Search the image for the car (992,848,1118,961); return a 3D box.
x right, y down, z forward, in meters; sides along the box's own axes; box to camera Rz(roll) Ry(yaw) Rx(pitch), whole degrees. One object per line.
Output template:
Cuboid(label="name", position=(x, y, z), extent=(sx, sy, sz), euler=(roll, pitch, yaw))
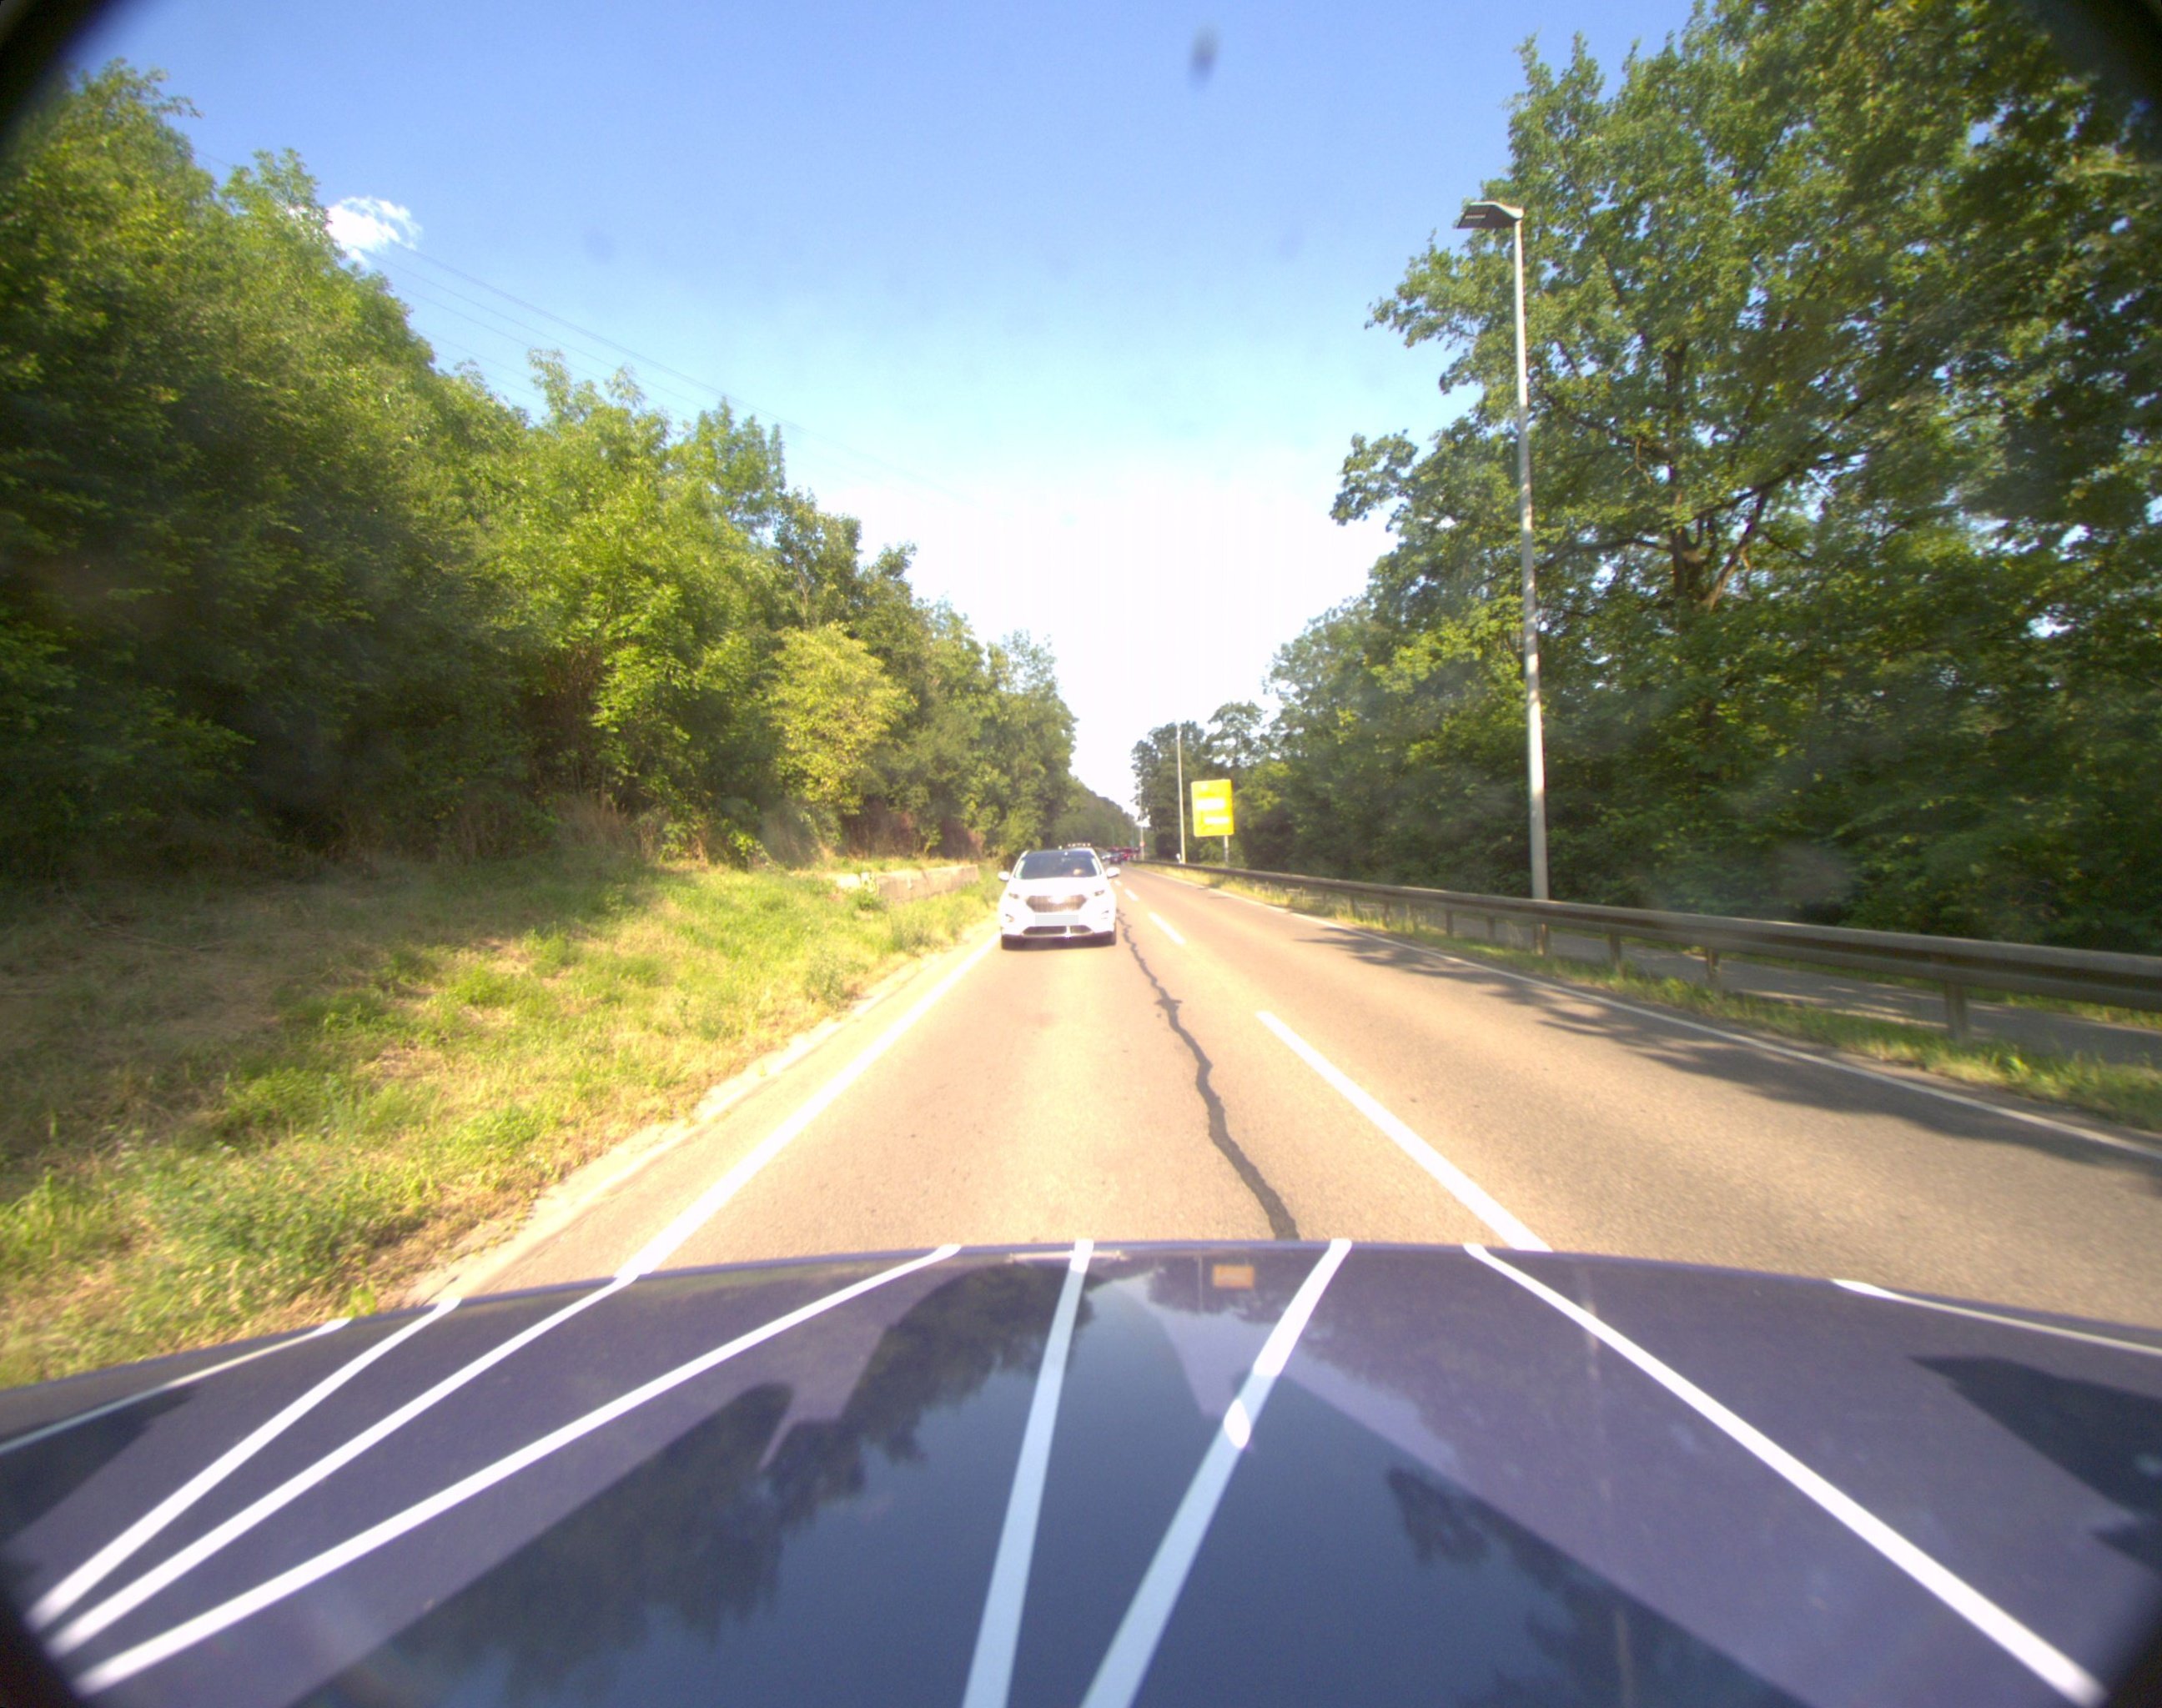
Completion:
Cuboid(label="car", position=(-0.373, 0.772, 13.837), extent=(1.894, 1.691, 4.136), euler=(-2, 0, 1))

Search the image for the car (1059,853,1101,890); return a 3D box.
Cuboid(label="car", position=(-0.029, 0.740, 34.067), extent=(1.704, 1.477, 4.136), euler=(-2, 0, 1))

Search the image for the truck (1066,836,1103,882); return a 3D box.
Cuboid(label="truck", position=(0.245, 0.257, 43.291), extent=(1.894, 2.334, 5.273), euler=(-2, 0, 1))

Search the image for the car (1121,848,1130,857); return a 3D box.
Cuboid(label="car", position=(8.911, -0.263, 152.573), extent=(1.752, 1.707, 4.221), euler=(-1, 0, 3))

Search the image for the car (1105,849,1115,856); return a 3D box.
Cuboid(label="car", position=(6.983, -0.338, 184.190), extent=(1.997, 1.647, 4.002), euler=(-1, 0, 8))

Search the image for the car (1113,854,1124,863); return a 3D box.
Cuboid(label="car", position=(5.759, 0.676, 116.764), extent=(1.695, 1.412, 4.142), euler=(-1, 1, 2))
